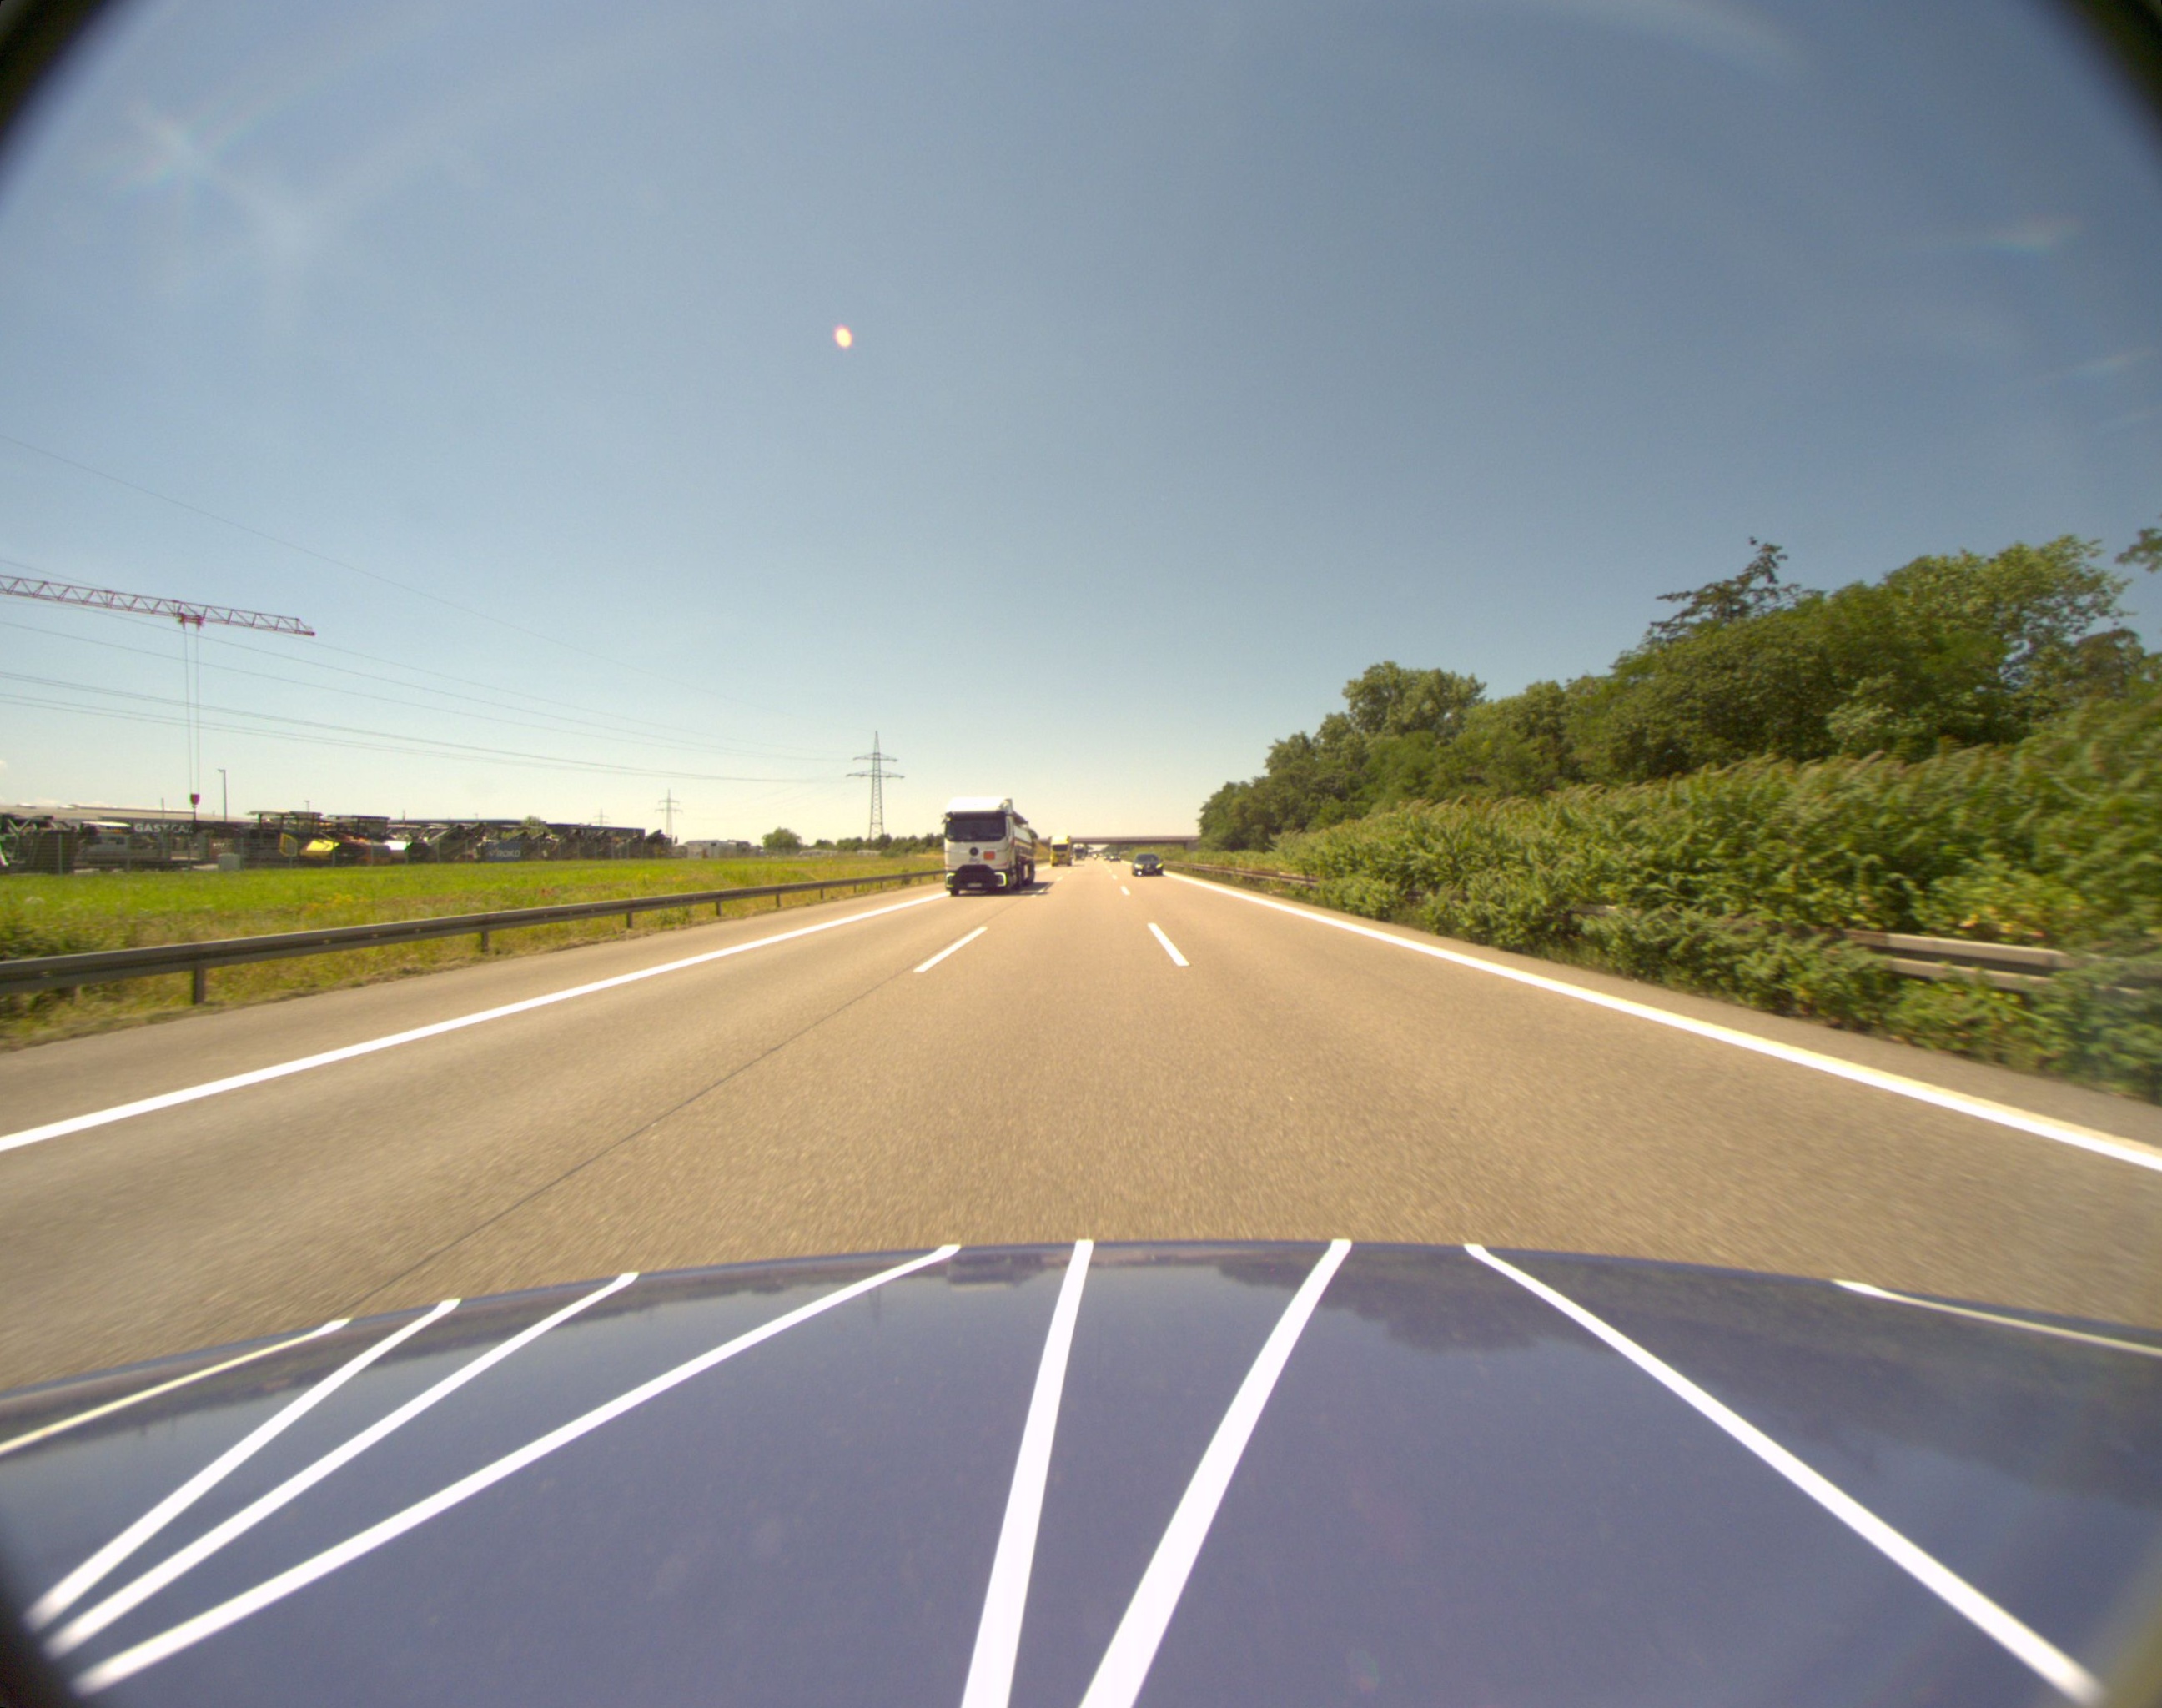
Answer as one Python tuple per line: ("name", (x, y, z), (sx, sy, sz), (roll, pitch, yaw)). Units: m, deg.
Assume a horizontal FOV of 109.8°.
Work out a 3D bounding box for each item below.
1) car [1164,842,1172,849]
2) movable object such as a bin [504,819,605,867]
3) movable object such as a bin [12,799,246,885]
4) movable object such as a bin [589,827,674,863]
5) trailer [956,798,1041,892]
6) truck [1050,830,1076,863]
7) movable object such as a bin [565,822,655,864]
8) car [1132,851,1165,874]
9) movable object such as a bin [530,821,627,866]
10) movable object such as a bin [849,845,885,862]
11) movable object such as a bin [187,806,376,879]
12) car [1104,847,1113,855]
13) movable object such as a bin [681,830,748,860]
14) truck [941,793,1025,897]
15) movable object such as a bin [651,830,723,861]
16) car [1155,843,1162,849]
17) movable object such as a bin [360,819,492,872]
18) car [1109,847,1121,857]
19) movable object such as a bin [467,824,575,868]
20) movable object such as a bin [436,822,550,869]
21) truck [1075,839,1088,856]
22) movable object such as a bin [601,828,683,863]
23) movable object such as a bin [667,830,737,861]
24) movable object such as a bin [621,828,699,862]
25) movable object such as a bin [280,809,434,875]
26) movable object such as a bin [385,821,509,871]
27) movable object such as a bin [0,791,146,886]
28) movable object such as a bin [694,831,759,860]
("car", (25.842, -2.429, 226.203), (1.998, 2.002, 4.000), (0, 1, 3))
("movable object such as a bin", (-52.934, -1.101, 76.507), (8.112, 4.349, 2.881), (-2, 1, 2))
("movable object such as a bin", (-55.343, -0.686, 44.362), (9.378, 4.486, 3.436), (-2, 1, 2))
("movable object such as a bin", (-52.353, -1.042, 88.643), (8.112, 3.916, 2.881), (-2, 1, 2))
("trailer", (-3.832, -0.455, 38.662), (2.573, 3.871, 13.278), (-2, 1, 1))
("truck", (-2.312, -1.059, 103.005), (2.977, 4.240, 12.610), (0, 1, 1))
("movable object such as a bin", (-52.656, -1.207, 85.061), (8.112, 4.349, 2.881), (-2, 1, 2))
("car", (4.334, 0.527, 49.440), (1.808, 1.385, 3.999), (-2, 1, 1))
("movable object such as a bin", (-52.870, -1.143, 80.071), (8.112, 4.349, 2.881), (-2, 1, 2))
("movable object such as a bin", (-54.230, -0.174, 192.430), (8.112, 3.916, 2.881), (-2, 1, 2))
("movable object such as a bin", (-54.830, -0.794, 52.302), (9.378, 4.486, 3.436), (-2, 1, 2))
("car", (6.028, -0.706, 168.967), (1.861, 1.696, 3.999), (0, 1, 1))
("movable object such as a bin", (-52.690, -1.261, 109.427), (8.112, 3.916, 2.881), (-2, 1, 2))
("truck", (-3.940, -0.373, 31.871), (2.573, 3.871, 5.722), (-2, 1, 1))
("movable object such as a bin", (-53.215, -1.165, 102.687), (8.112, 3.916, 2.881), (-2, 1, 2))
("car", (26.294, -2.807, 258.631), (1.998, 2.002, 4.000), (0, 1, 3))
("movable object such as a bin", (-52.696, -0.674, 61.240), (8.112, 3.883, 2.881), (-2, 1, 2))
("car", (5.828, -0.409, 130.100), (1.861, 1.696, 3.999), (0, 1, 1))
("movable object such as a bin", (-53.436, -0.773, 72.662), (8.112, 3.883, 2.881), (-2, 1, 2))
("movable object such as a bin", (-53.549, -0.731, 69.296), (8.112, 3.883, 2.881), (-2, 1, 2))
("truck", (0.166, -1.715, 194.665), (2.977, 4.240, 12.610), (0, 1, 1))
("movable object such as a bin", (-53.051, -1.002, 91.883), (8.112, 3.883, 2.881), (-2, 1, 2))
("movable object such as a bin", (-53.013, -1.214, 106.394), (8.112, 3.916, 2.881), (-2, 1, 2))
("movable object such as a bin", (-52.840, -1.099, 95.440), (8.112, 3.916, 2.881), (-2, 1, 2))
("movable object such as a bin", (-53.576, -0.888, 56.379), (8.112, 4.486, 3.350), (-2, 1, 2))
("movable object such as a bin", (-53.776, -0.670, 64.568), (8.112, 3.883, 2.881), (-2, 1, 2))
("movable object such as a bin", (-54.118, -0.645, 38.489), (9.378, 4.486, 3.436), (-2, 1, 2))
("movable object such as a bin", (-52.385, -1.306, 112.477), (8.112, 3.916, 2.881), (-2, 1, 2))
